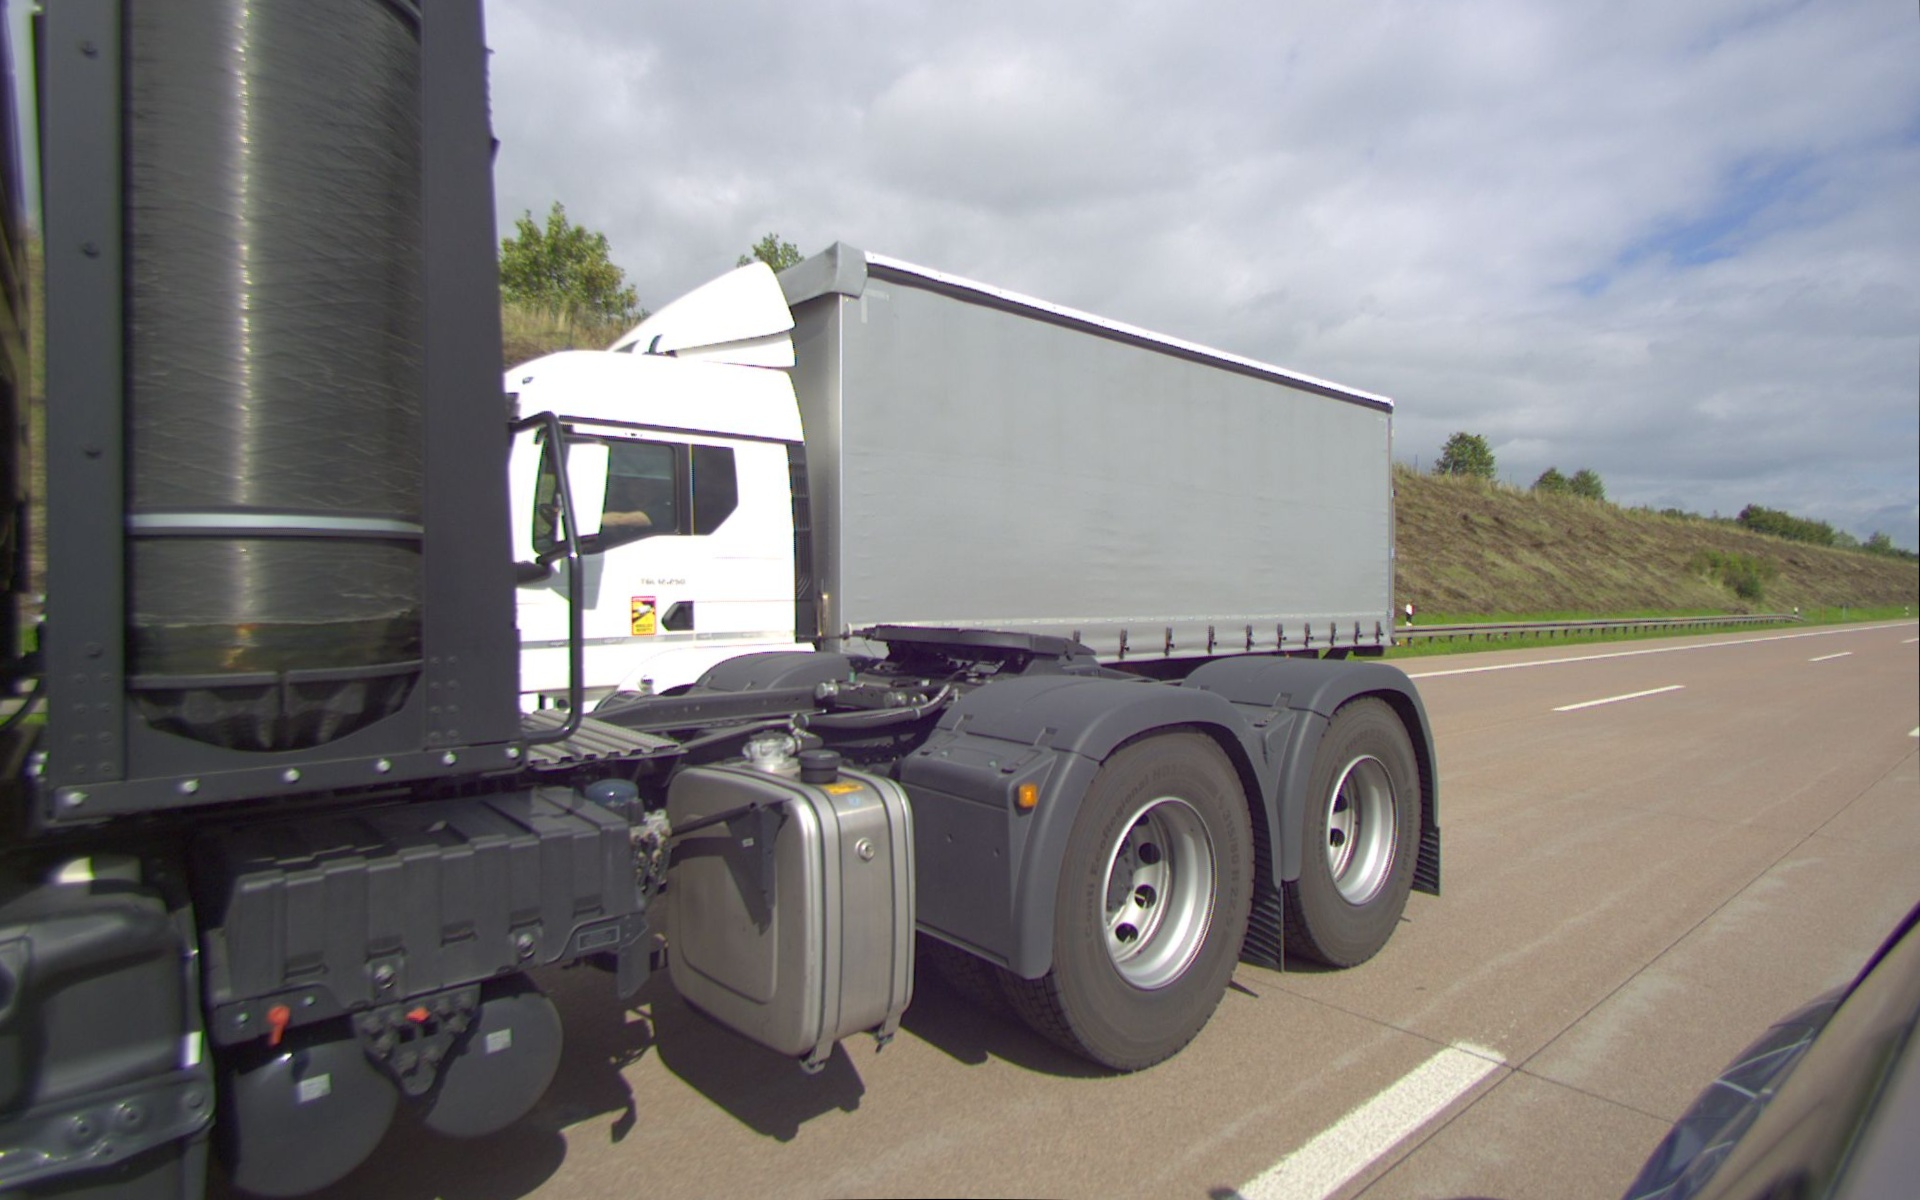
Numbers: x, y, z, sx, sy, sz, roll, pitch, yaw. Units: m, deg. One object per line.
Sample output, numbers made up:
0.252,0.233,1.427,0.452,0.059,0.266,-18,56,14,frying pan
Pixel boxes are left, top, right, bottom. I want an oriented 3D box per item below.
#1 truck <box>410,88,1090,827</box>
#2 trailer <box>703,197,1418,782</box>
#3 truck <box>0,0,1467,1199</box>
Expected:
-1.483,-0.788,7.939,4.469,3.941,2.752,0,0,-43,truck
1.747,-0.811,10.949,8.524,4.062,2.750,-1,0,-43,trailer
-1.777,-0.471,2.671,8.178,3.594,2.851,-1,0,-43,truck
